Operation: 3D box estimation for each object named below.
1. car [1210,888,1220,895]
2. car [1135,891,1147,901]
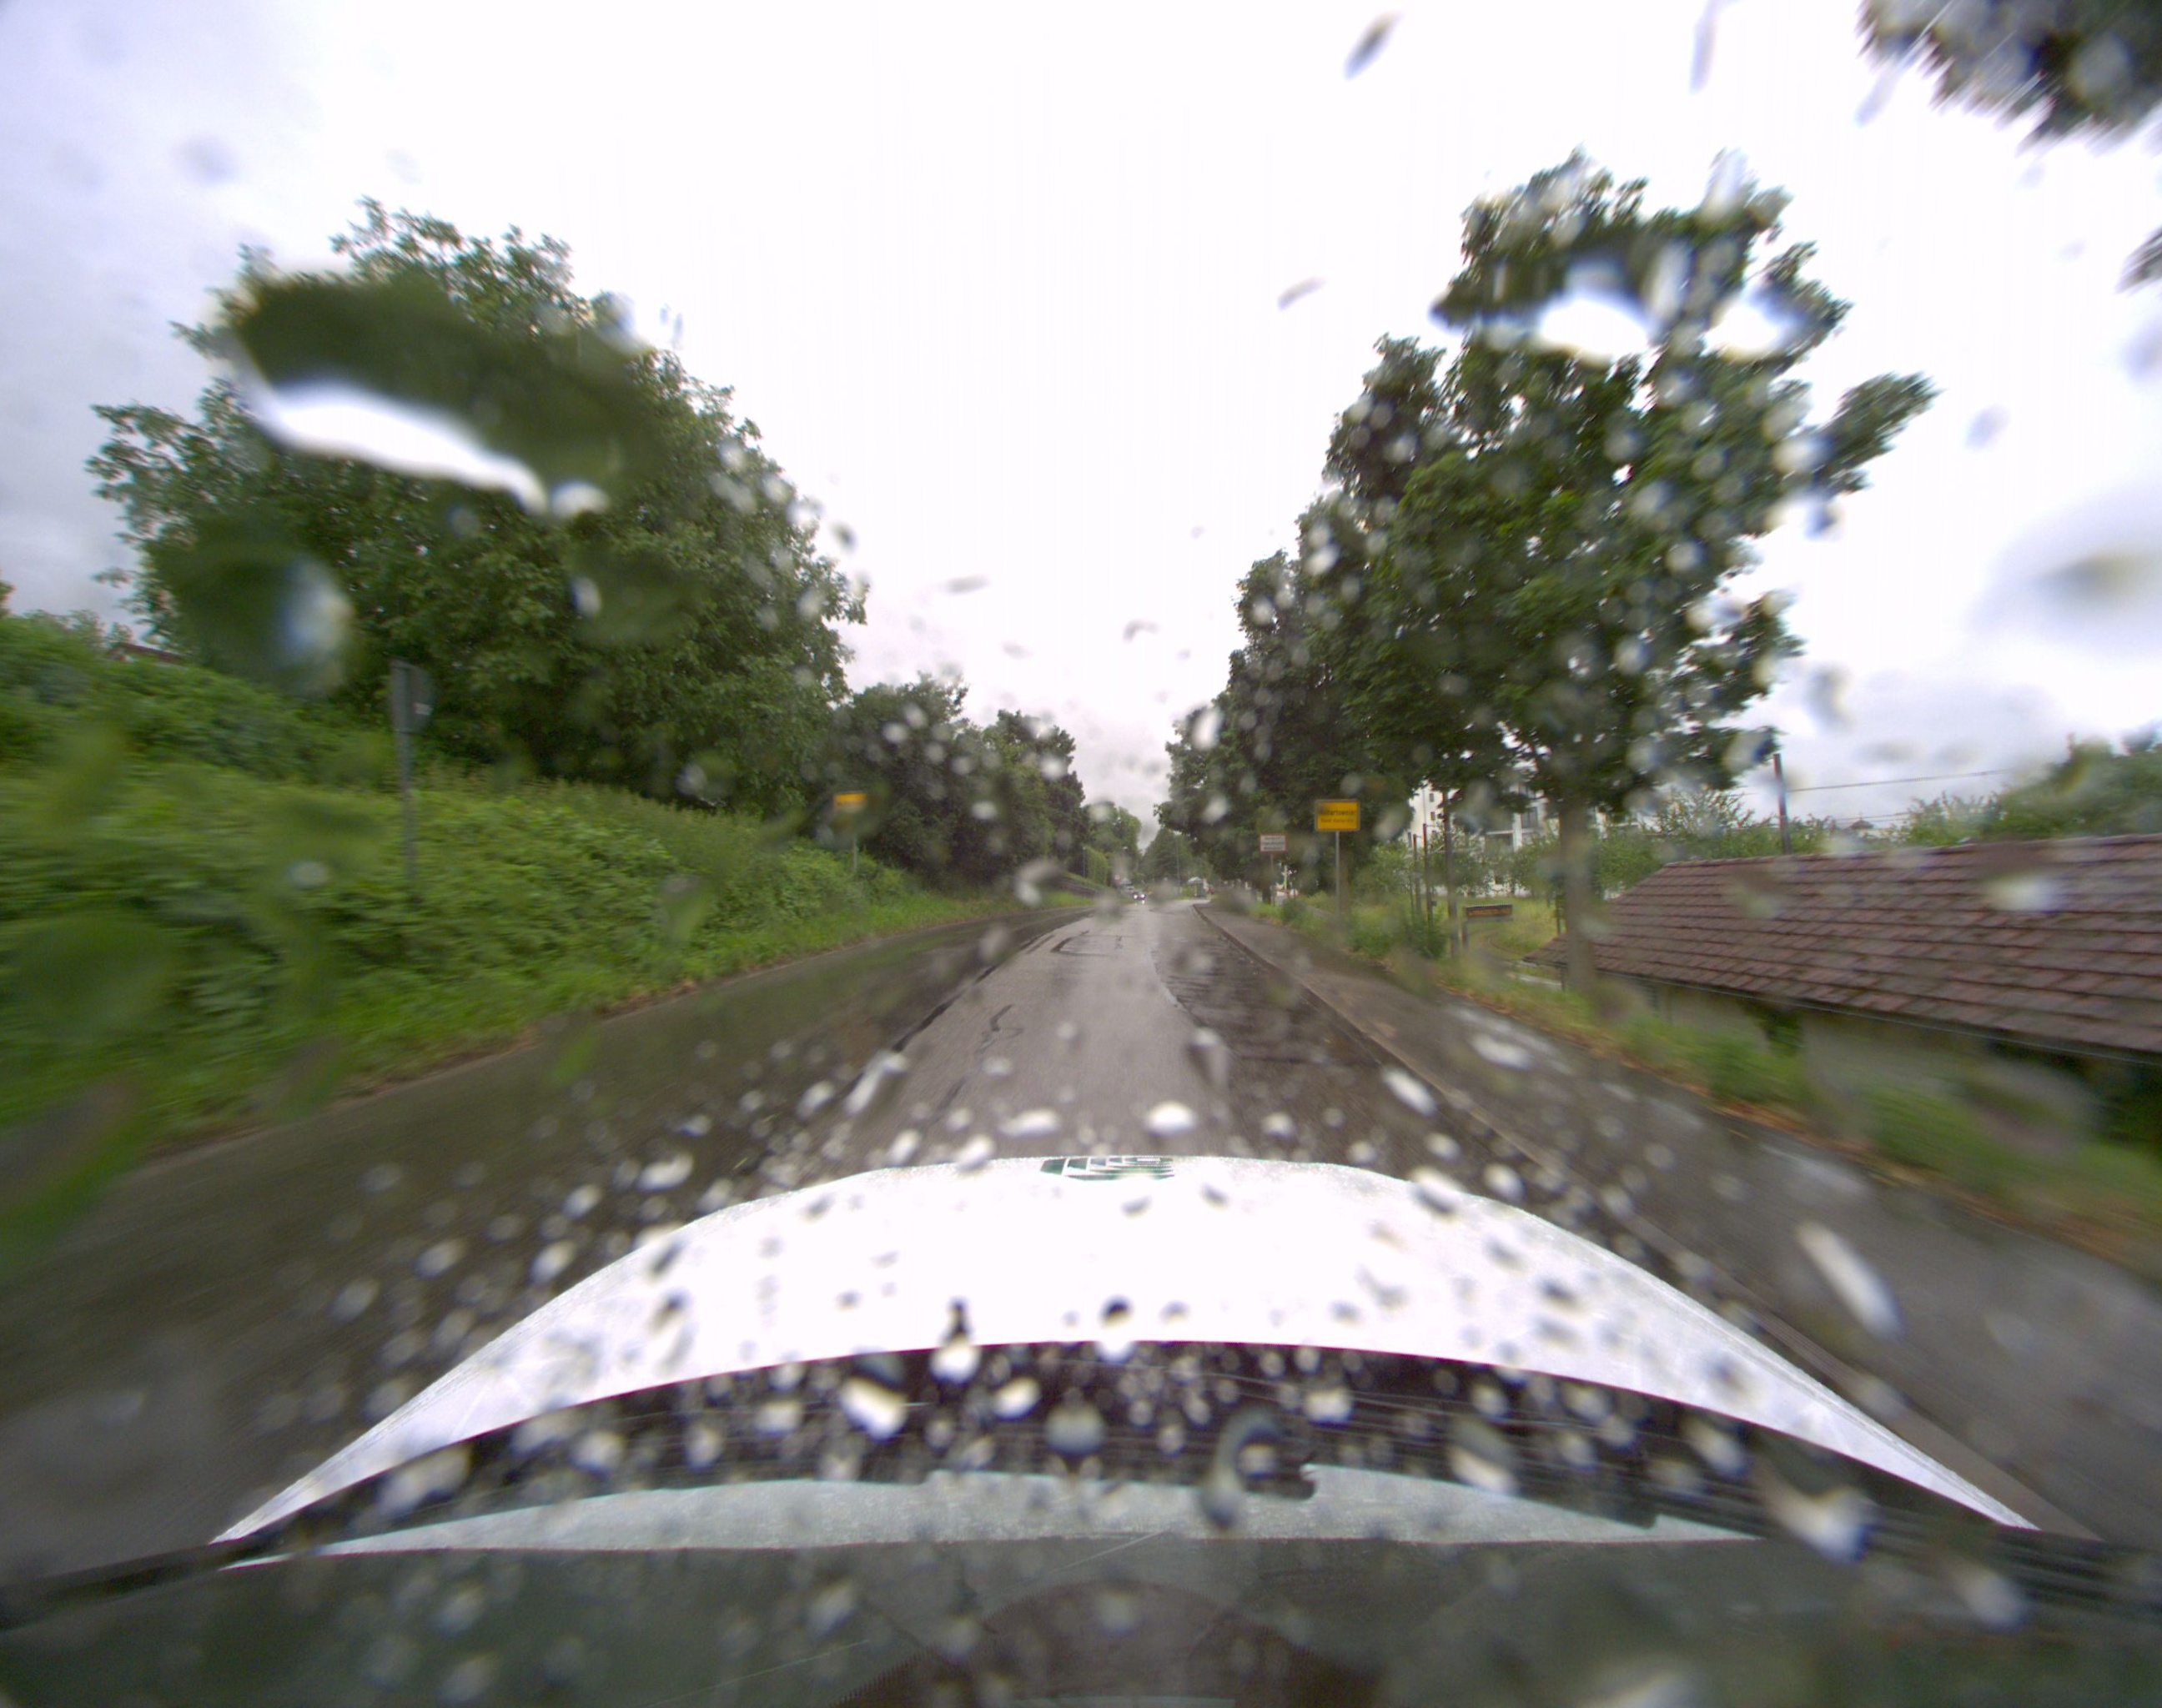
[{"bbox_3d":[30.399,8.572,184.796,1.683,1.438,3.611,-2,-1,0],"label":"car"},{"bbox_3d":[9.819,6.887,133.051,1.754,1.503,4.141,-3,-4,1],"label":"car"}]
